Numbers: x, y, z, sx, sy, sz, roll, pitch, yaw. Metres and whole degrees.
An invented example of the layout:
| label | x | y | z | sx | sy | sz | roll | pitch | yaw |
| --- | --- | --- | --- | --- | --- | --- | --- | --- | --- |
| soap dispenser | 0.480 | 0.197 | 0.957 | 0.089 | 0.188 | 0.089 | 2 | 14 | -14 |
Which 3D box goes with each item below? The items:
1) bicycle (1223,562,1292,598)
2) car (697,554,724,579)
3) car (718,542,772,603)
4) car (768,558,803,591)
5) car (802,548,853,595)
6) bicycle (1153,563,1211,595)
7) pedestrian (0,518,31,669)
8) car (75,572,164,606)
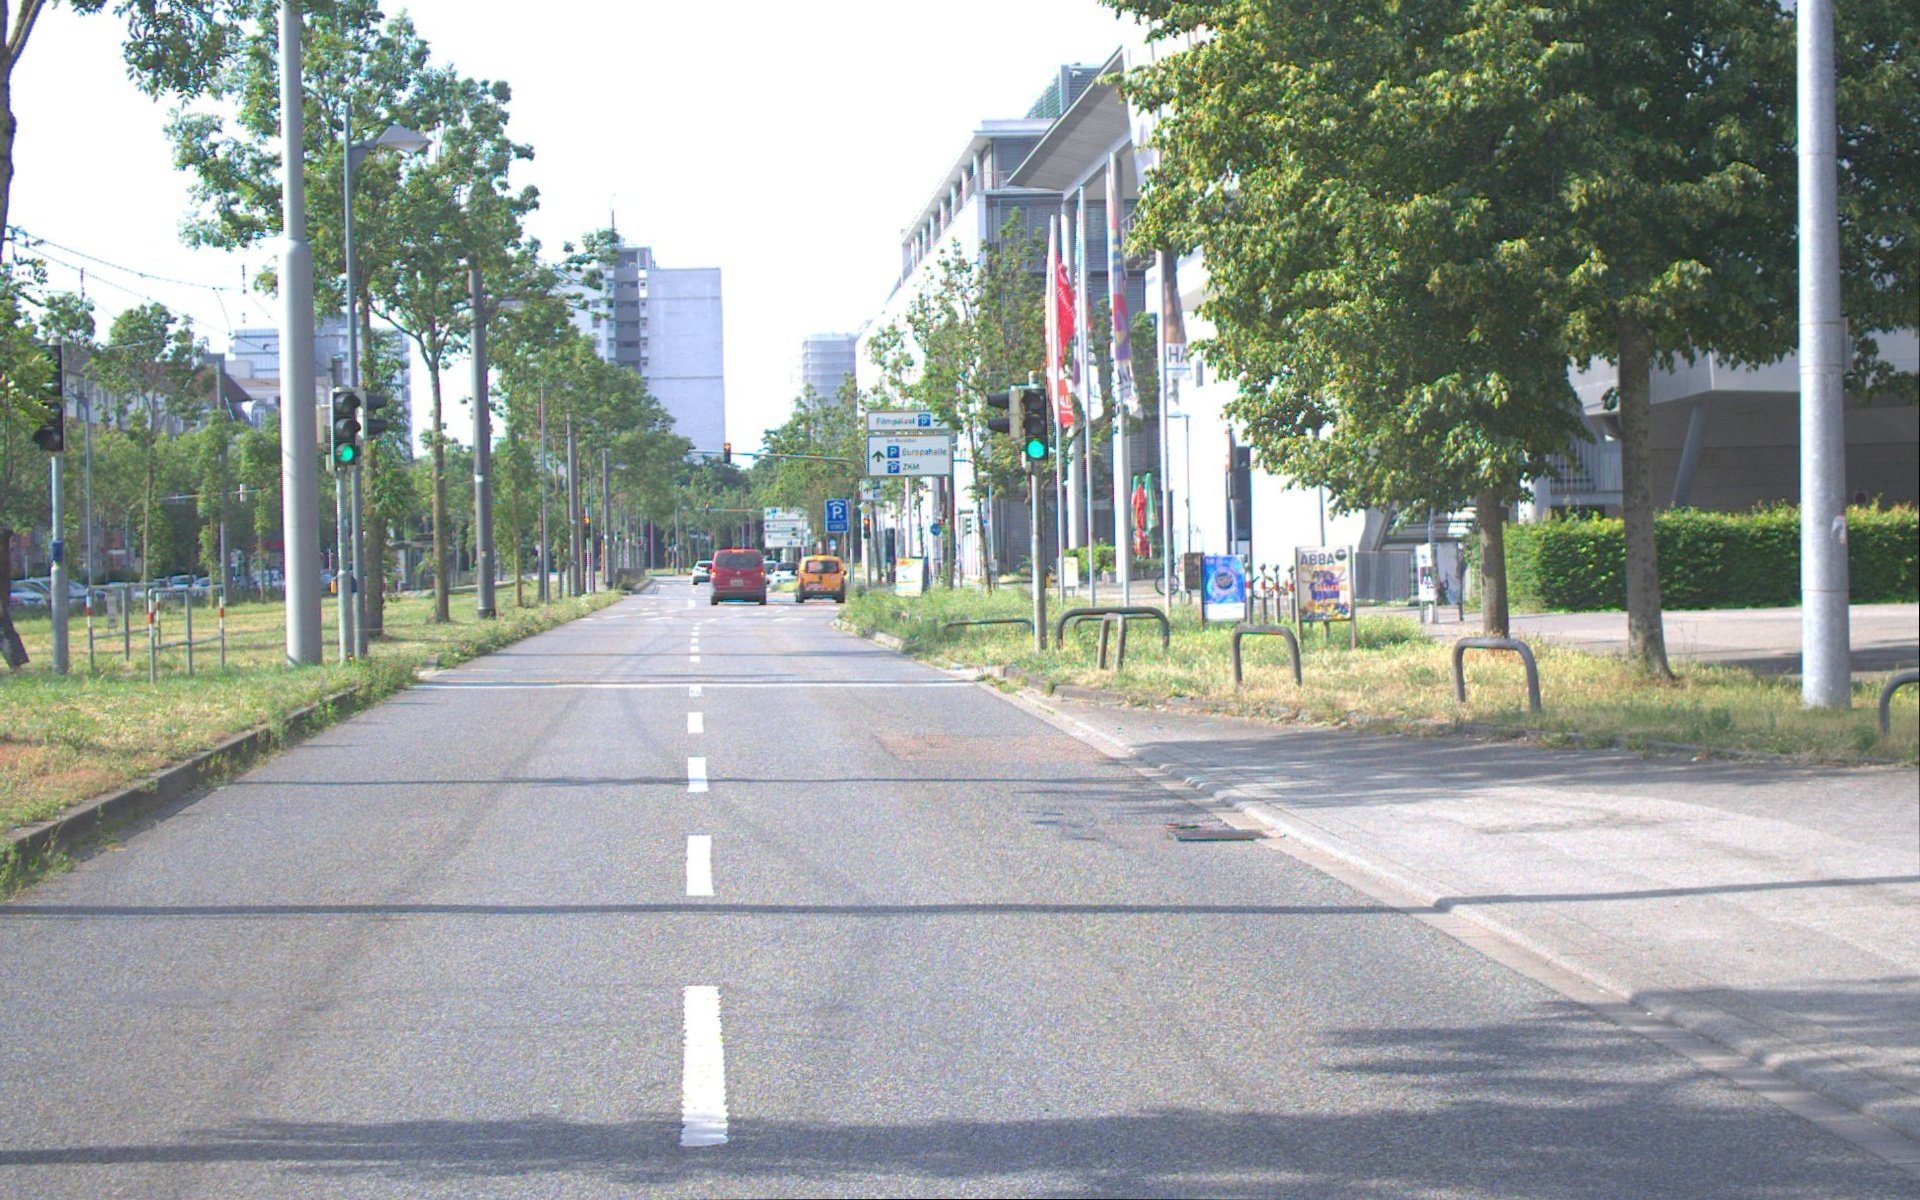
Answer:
| label | x | y | z | sx | sy | sz | roll | pitch | yaw |
| --- | --- | --- | --- | --- | --- | --- | --- | --- | --- |
| bicycle | 7.472 | -0.500 | 86.390 | 1.621 | 0.885 | 0.551 | 1 | 0 | -5 |
| car | -16.678 | -2.244 | 229.985 | 1.748 | 1.645 | 3.216 | 1 | 0 | -3 |
| car | -7.279 | -0.919 | 116.457 | 1.748 | 2.007 | 3.216 | 1 | 0 | -3 |
| car | -9.099 | -1.326 | 179.122 | 1.748 | 1.645 | 3.216 | 1 | 0 | -3 |
| car | -4.828 | -1.032 | 124.888 | 1.748 | 1.645 | 3.216 | 1 | 0 | -3 |
| bicycle | 6.516 | -0.618 | 101.153 | 1.621 | 0.885 | 0.551 | 1 | 0 | -5 |
| pedestrian | -10.186 | -0.074 | 36.198 | 0.625 | 1.566 | 0.711 | 1 | 0 | -3 |
| car | -41.280 | -0.559 | 168.825 | 3.991 | 1.590 | 1.653 | 1 | 0 | 22 |
